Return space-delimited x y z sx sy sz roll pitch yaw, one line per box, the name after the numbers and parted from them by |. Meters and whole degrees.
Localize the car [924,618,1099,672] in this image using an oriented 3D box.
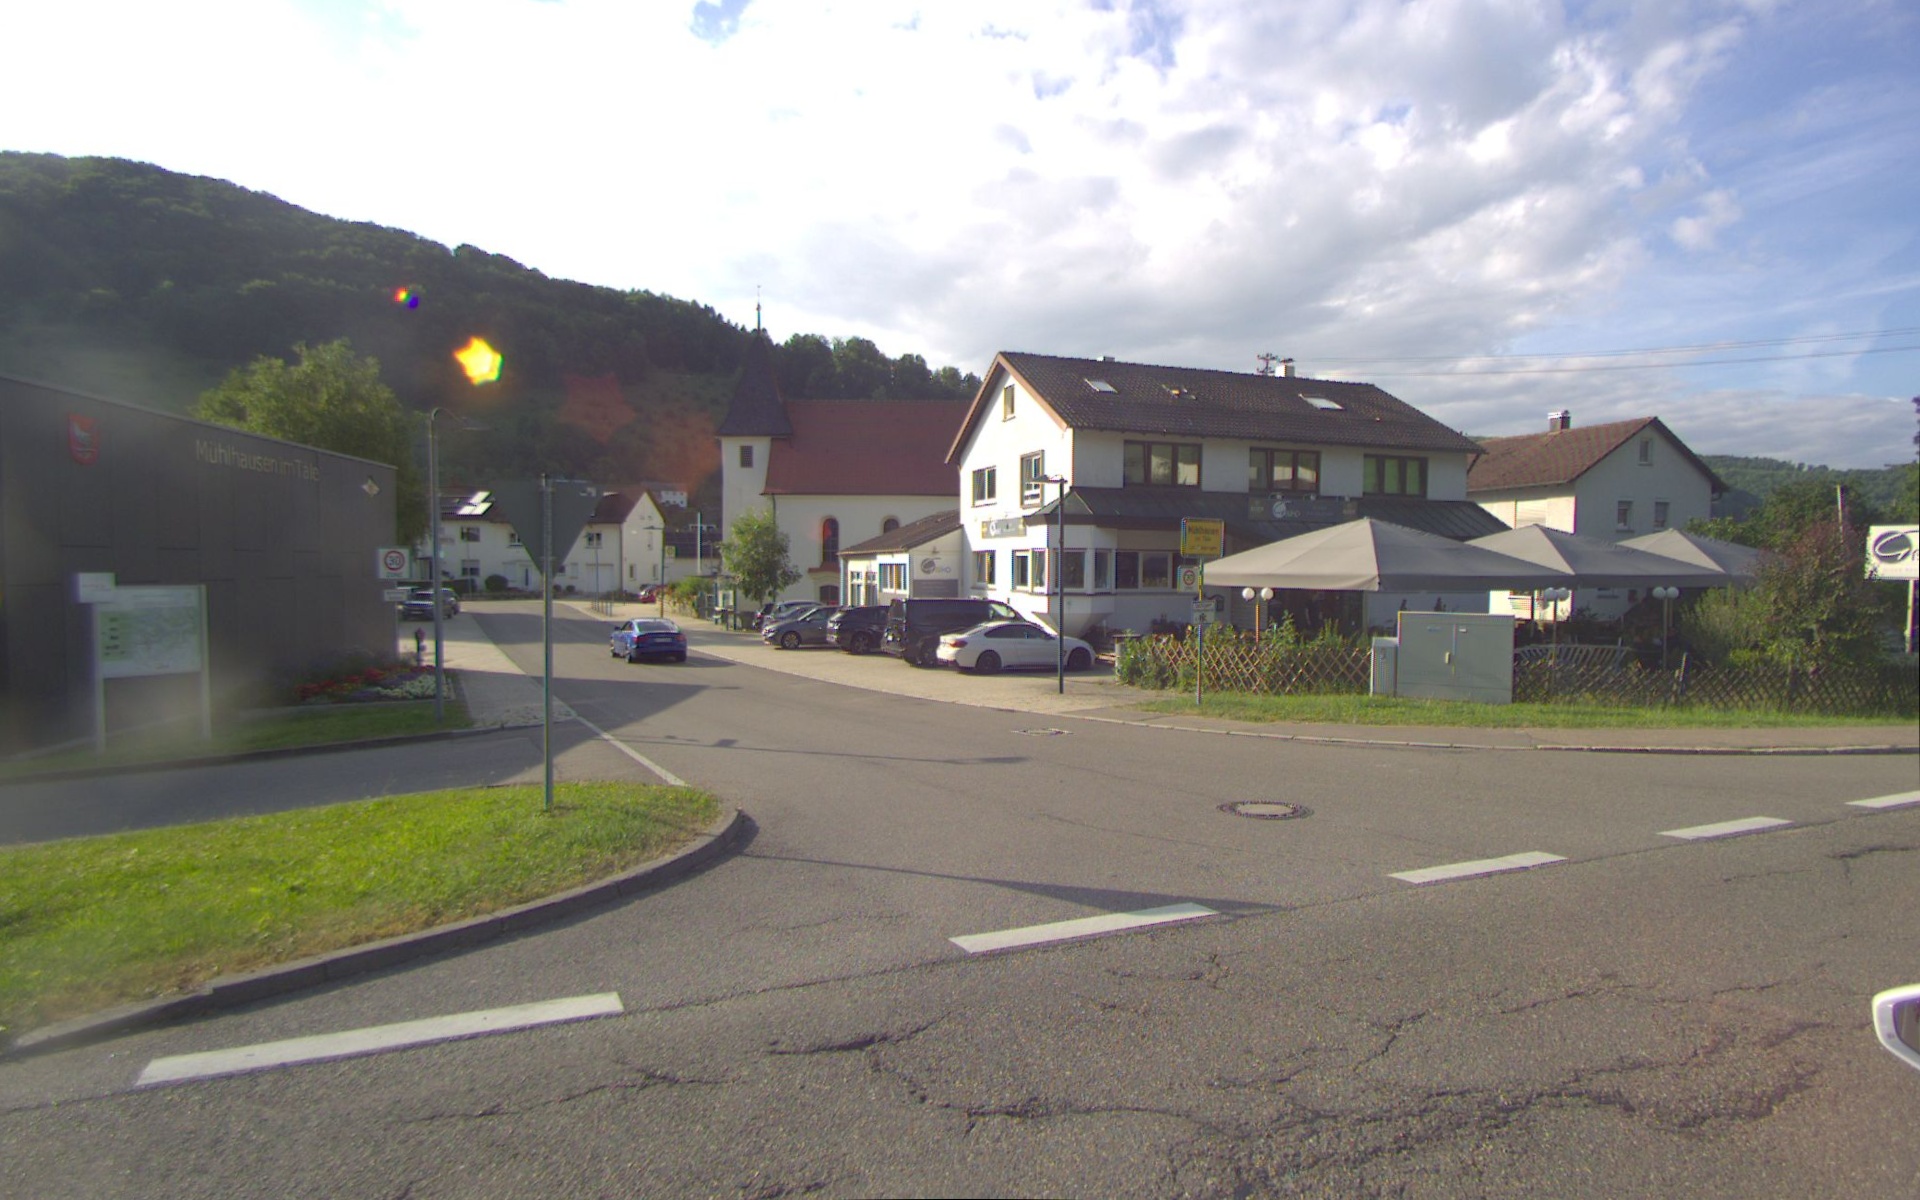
1.454 1.221 28.155 4.512 1.408 1.989 1 -1 -24 | car

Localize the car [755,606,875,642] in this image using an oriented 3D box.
-5.958 0.986 41.194 4.512 1.431 1.989 1 -1 -24 | car

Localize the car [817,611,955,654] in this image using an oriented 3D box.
-2.627 1.148 35.668 4.512 1.431 1.989 1 -1 -24 | car

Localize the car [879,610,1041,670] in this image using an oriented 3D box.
-0.011 1.188 30.447 4.512 1.707 1.989 1 -1 -24 | car

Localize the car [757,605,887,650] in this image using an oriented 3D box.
-5.222 1.041 37.971 4.512 1.618 1.989 1 -1 -24 | car

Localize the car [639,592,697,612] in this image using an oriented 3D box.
-22.571 0.179 77.608 3.951 1.528 1.985 0 0 -29 | car

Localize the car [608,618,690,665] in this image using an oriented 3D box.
-10.184 1.304 32.719 1.813 1.428 4.196 1 -1 -28 | car

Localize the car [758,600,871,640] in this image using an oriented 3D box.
-6.345 0.876 43.822 4.512 1.665 1.989 1 -1 -24 | car

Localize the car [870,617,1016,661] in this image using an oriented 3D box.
-0.566 1.283 33.638 4.512 1.408 1.989 1 -1 -24 | car

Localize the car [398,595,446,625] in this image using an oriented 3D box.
-29.057 0.522 54.244 1.979 1.534 3.964 0 0 -33 | car
